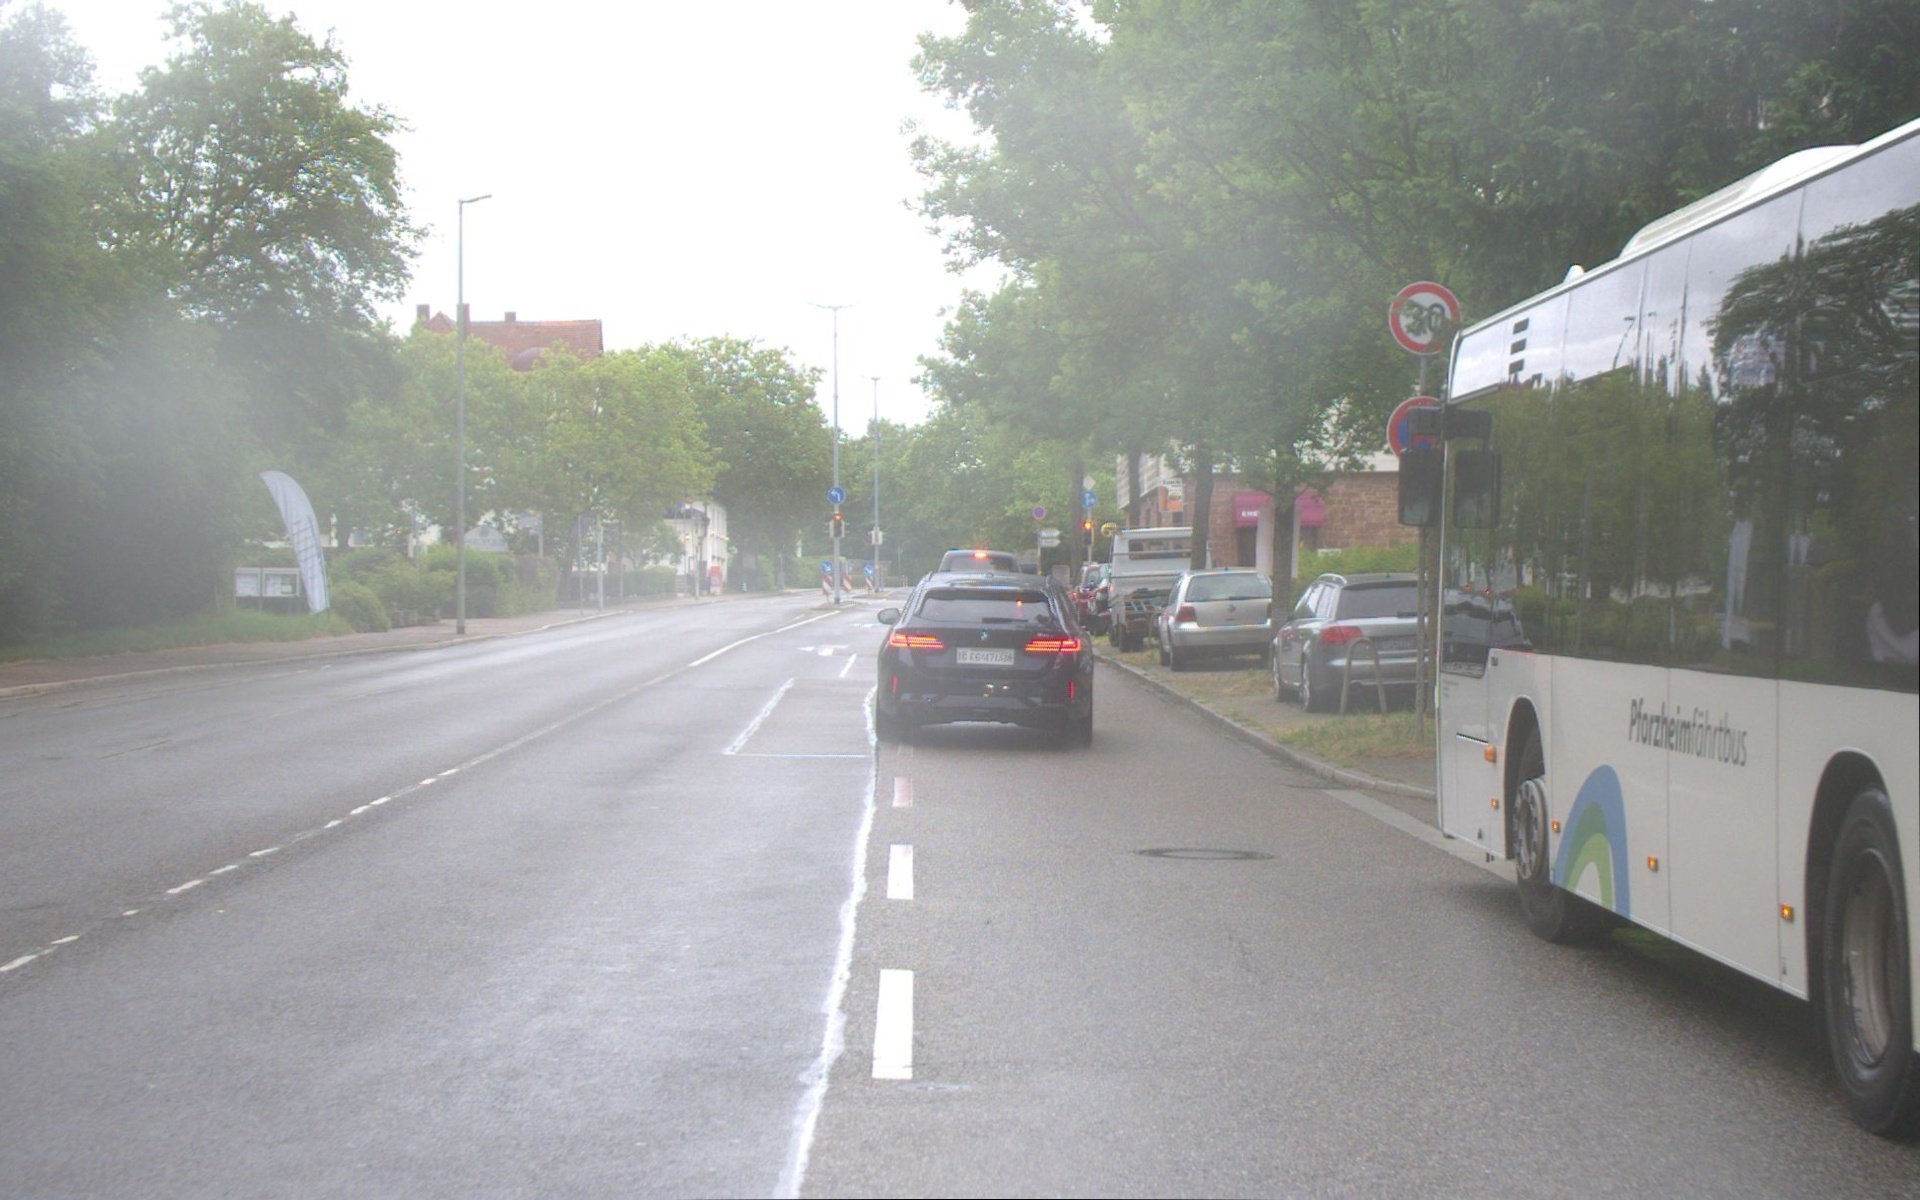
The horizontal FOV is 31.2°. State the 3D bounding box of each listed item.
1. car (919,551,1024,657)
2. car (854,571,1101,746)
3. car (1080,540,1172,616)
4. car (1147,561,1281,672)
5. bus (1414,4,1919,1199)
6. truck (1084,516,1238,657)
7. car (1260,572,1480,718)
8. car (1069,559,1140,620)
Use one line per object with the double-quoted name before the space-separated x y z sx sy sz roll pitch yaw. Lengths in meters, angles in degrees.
"car" 0.175 0.037 61.399 1.784 1.811 4.000 0 1 -1
"car" 0.090 0.477 31.365 2.064 1.441 4.483 1 0 -1
"car" 3.473 -0.474 72.461 1.714 1.493 4.183 -3 1 0
"car" 3.658 0.208 49.986 1.601 1.431 4.021 -3 1 1
"bus" 3.592 -0.037 12.310 2.556 2.949 9.450 0 1 -1
"truck" 3.428 -0.263 59.741 2.080 2.214 6.502 -3 1 -1
"car" 4.275 0.430 36.432 1.688 1.385 4.500 -1 1 -1
"car" 3.663 -0.286 87.597 1.583 1.485 3.627 -1 1 -1
